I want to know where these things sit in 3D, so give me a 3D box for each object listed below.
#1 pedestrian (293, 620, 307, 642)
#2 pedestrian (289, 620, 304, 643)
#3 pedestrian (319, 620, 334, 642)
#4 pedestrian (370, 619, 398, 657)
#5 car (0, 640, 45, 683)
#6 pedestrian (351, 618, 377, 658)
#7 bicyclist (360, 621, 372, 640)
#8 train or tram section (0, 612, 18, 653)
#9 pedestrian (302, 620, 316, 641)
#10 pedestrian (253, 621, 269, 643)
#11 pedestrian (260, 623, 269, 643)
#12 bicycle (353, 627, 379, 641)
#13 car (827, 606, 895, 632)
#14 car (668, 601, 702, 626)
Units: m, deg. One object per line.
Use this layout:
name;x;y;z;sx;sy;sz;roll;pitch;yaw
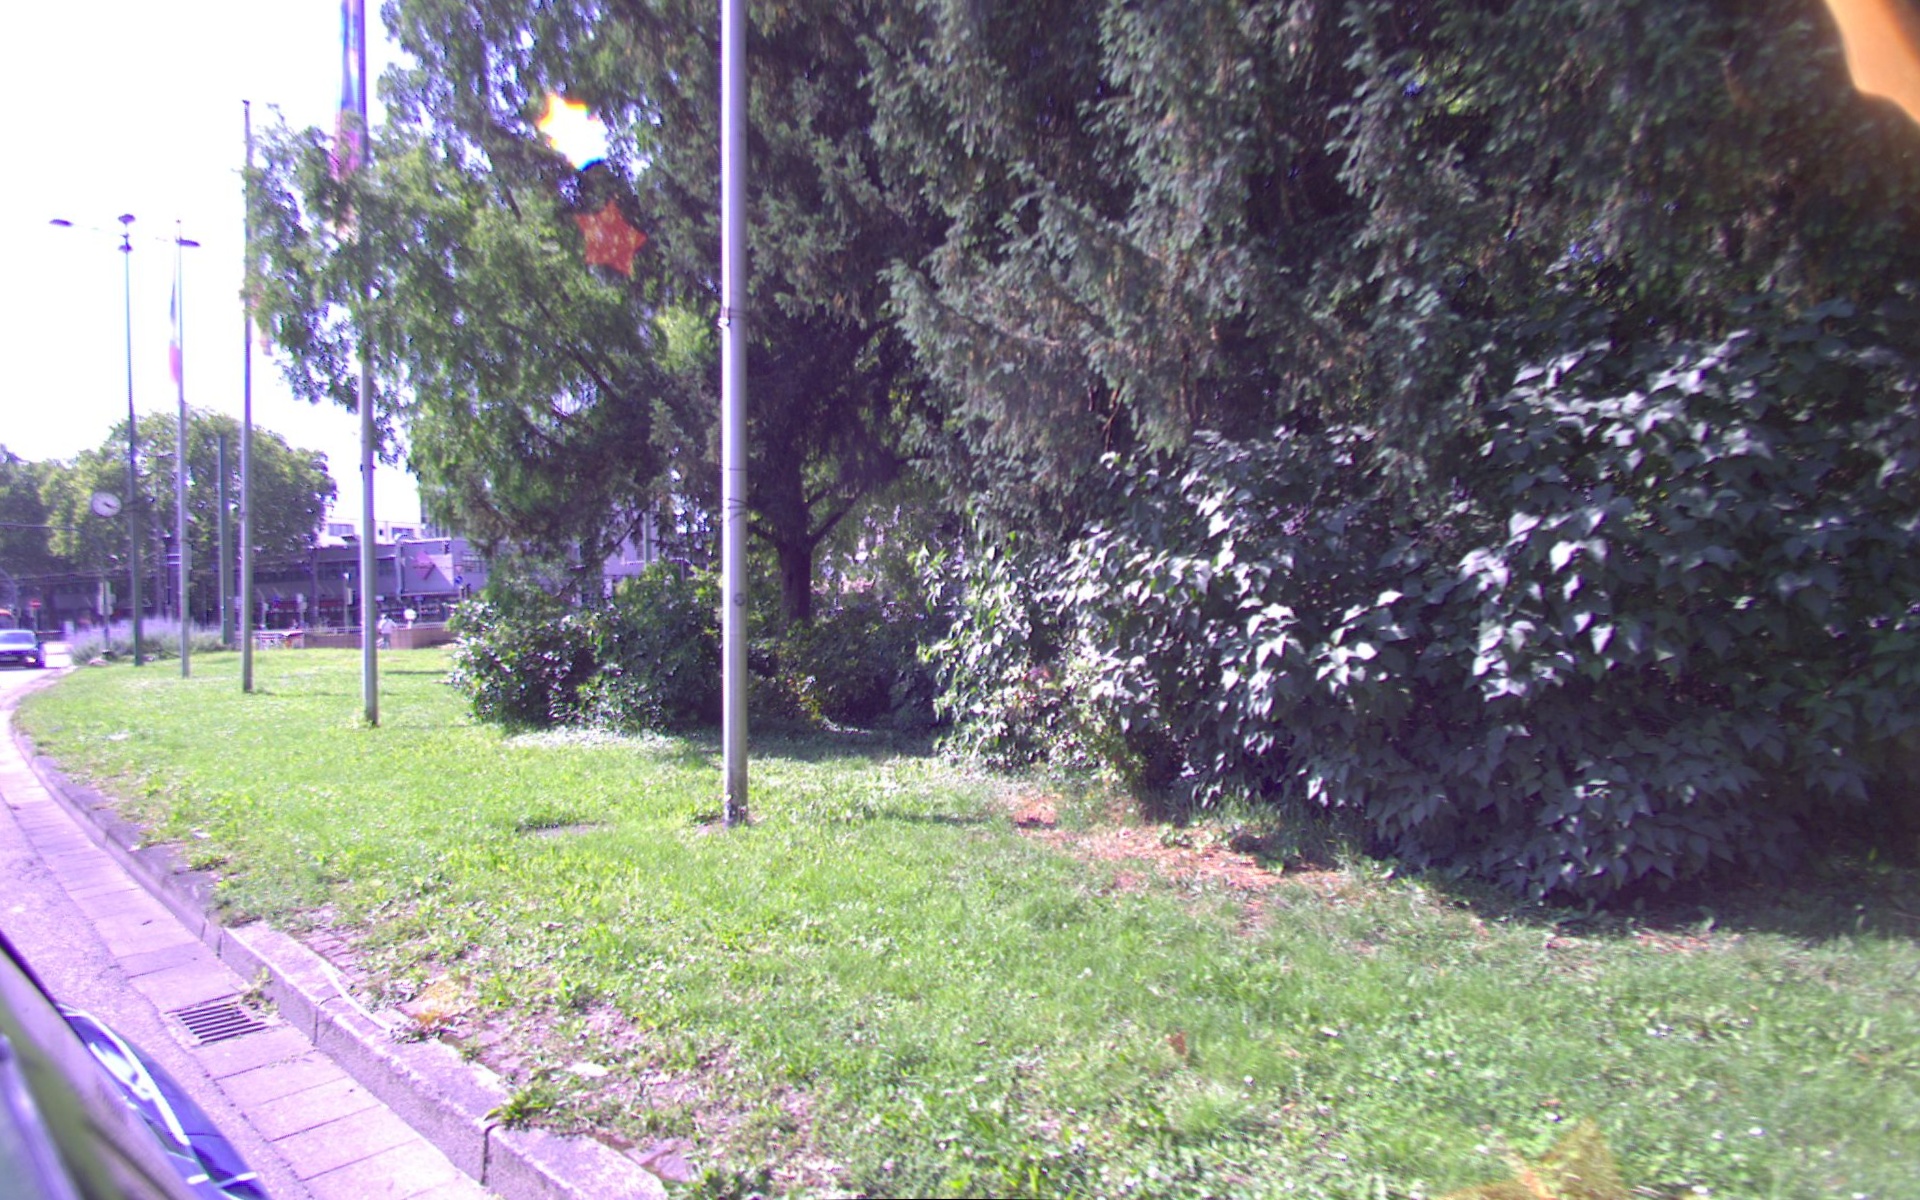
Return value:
pedestrian;-55.942;2.649;85.786;0.666;1.850;0.818;-1;-1;20
pedestrian;-55.575;2.637;84.765;0.666;1.850;0.818;-1;-1;20
pedestrian;-54.084;2.624;86.426;0.666;1.850;0.818;-1;-1;21
pedestrian;-23.582;1.564;41.457;0.474;1.522;0.841;-2;0;33
car;-35.133;2.243;37.526;1.765;1.504;4.092;0;-2;-43
pedestrian;-24.075;1.529;40.883;0.598;1.605;0.684;-2;0;34
bicyclist;-52.528;2.692;89.478;0.580;1.700;0.678;-2;0;25
train or tram section;-82.936;2.852;84.523;8.674;3.292;2.716;-2;0;21
pedestrian;-56.873;2.693;88.411;0.667;1.820;0.817;-1;-1;22
pedestrian;-58.141;2.678;84.171;0.667;1.820;0.817;-1;-1;22
pedestrian;-59.289;2.802;86.283;0.556;1.650;0.601;-1;-1;-31
bicycle;-52.517;2.985;89.481;0.573;1.110;1.953;-2;0;24
car;-5.735;1.122;58.795;3.560;1.356;1.600;-2;0;22
car;-33.509;1.638;123.506;1.734;2.938;4.607;-2;0;19
